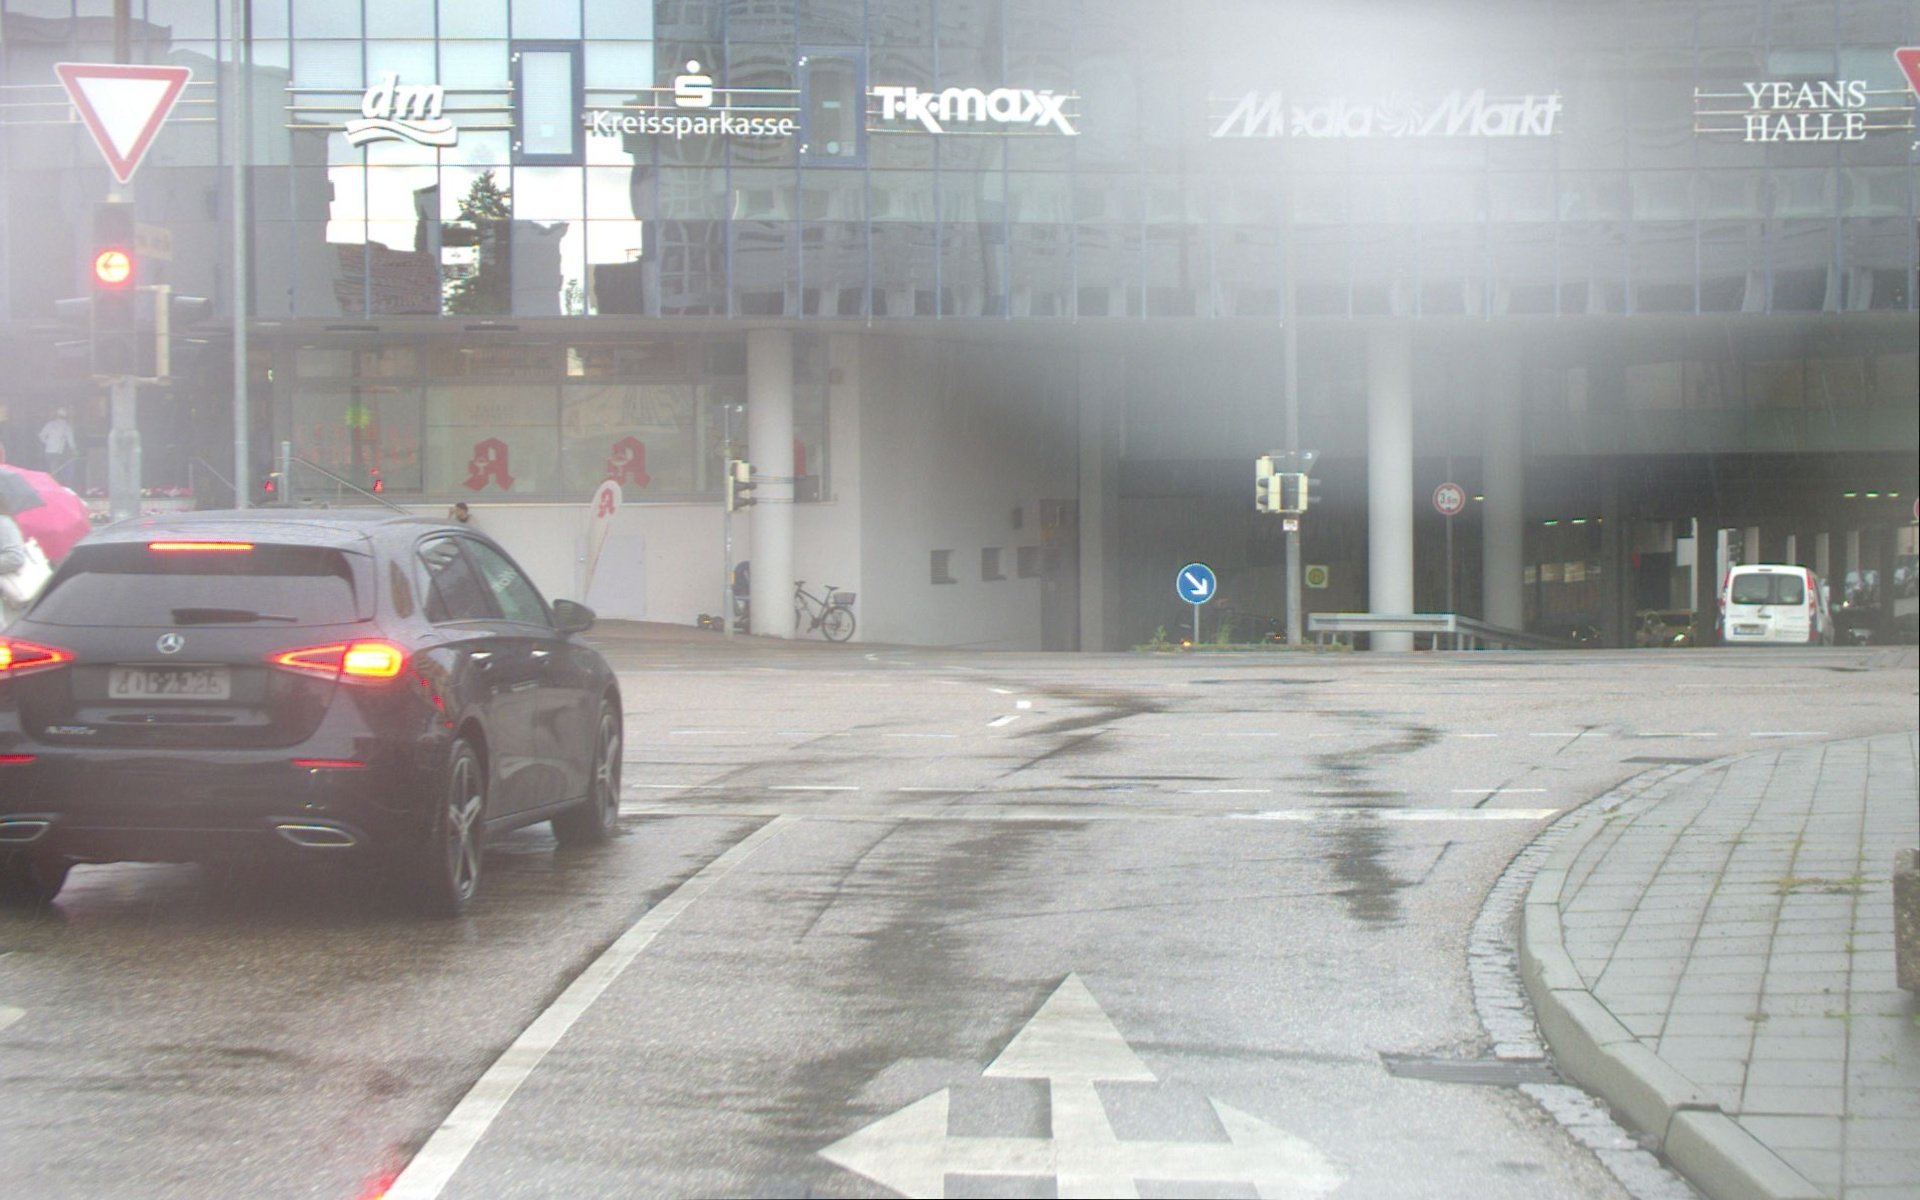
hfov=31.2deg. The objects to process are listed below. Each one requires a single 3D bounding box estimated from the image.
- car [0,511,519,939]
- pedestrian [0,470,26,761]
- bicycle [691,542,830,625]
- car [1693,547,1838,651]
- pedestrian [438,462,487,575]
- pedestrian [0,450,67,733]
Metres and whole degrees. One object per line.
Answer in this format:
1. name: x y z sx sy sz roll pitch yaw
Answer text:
1. car: -2.729 0.367 13.534 1.804 1.414 4.001 -1 2 -5
2. pedestrian: -5.957 0.057 19.551 0.909 1.653 0.755 2 2 -42
3. bicycle: -3.619 -0.307 62.217 2.423 1.459 0.656 -1 3 -16
4. car: 14.126 -0.040 60.160 1.995 1.711 3.996 0 1 20
5. pedestrian: -8.915 -1.464 61.634 0.787 2.007 0.670 -1 1 -5
6. pedestrian: -5.742 -0.068 20.610 0.609 1.653 0.672 3 2 -20
